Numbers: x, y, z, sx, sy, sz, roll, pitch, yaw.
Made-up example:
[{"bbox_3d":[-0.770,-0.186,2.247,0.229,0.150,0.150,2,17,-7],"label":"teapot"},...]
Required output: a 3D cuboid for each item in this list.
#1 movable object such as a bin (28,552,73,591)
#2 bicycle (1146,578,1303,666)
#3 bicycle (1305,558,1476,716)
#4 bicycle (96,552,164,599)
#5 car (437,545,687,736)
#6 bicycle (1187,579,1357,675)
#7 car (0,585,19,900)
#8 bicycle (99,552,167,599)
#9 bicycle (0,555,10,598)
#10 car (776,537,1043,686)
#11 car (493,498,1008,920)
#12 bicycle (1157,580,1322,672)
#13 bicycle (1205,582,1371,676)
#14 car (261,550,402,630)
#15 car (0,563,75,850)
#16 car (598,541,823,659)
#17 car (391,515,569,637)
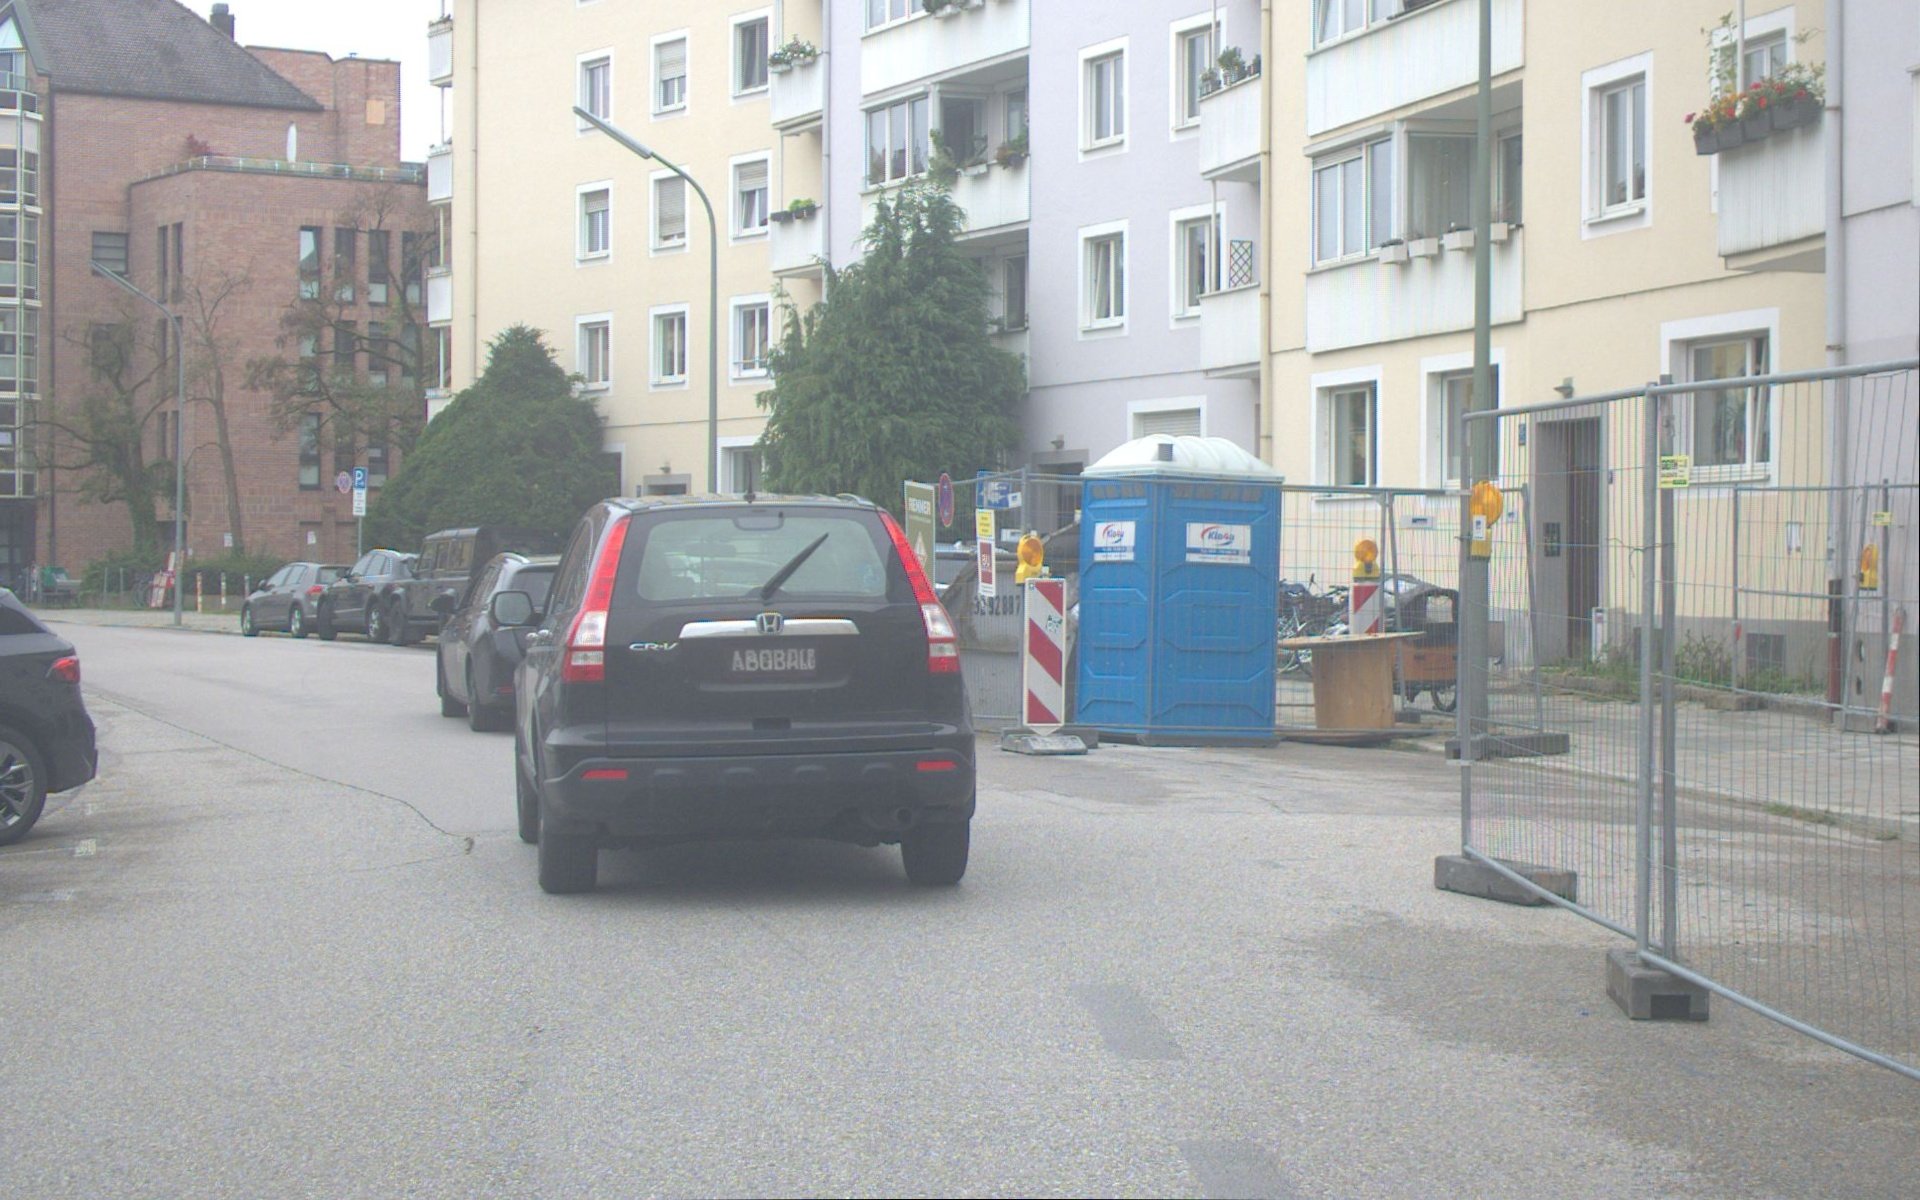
[{"bbox_3d":[-26.502,-0.830,100.168,0.965,1.082,1.985,0,1,-24],"label":"movable object such as a bin"},{"bbox_3d":[3.354,0.275,43.590,1.865,1.087,0.646,0,1,-13],"label":"bicycle"},{"bbox_3d":[3.982,0.316,32.026,0.968,1.384,2.564,1,1,-7],"label":"bicycle"},{"bbox_3d":[-23.075,-0.671,95.571,1.753,1.284,0.553,0,1,-22],"label":"bicycle"},{"bbox_3d":[-3.427,0.289,29.001,1.678,1.476,4.088,0,1,-12],"label":"car"},{"bbox_3d":[3.620,0.313,39.878,1.865,1.087,0.566,0,1,-13],"label":"bicycle"},{"bbox_3d":[-6.199,0.681,14.173,4.075,1.476,1.683,-3,0,-42],"label":"car"},{"bbox_3d":[-22.832,-0.683,94.948,1.753,1.284,0.553,0,1,-22],"label":"bicycle"},{"bbox_3d":[-29.612,-0.735,105.817,0.551,1.284,1.760,0,1,-21],"label":"bicycle"},{"bbox_3d":[-0.612,0.092,37.608,1.724,1.478,4.001,1,1,-19],"label":"car"},{"bbox_3d":[-1.081,0.394,15.495,1.890,1.642,3.992,0,1,-10],"label":"car"},{"bbox_3d":[3.378,0.313,41.537,1.865,1.087,0.646,0,1,-13],"label":"bicycle"},{"bbox_3d":[3.885,0.338,40.775,1.865,1.087,0.566,0,1,-13],"label":"bicycle"},{"bbox_3d":[-11.686,-0.200,63.768,1.697,1.384,3.603,1,1,-25],"label":"car"},{"bbox_3d":[-6.746,0.544,17.362,4.074,1.476,1.684,0,1,-40],"label":"car"},{"bbox_3d":[-3.460,-0.023,47.036,1.724,1.478,4.001,1,1,-25],"label":"car"},{"bbox_3d":[-7.811,-0.414,55.710,1.724,1.871,4.001,1,1,-25],"label":"car"}]
